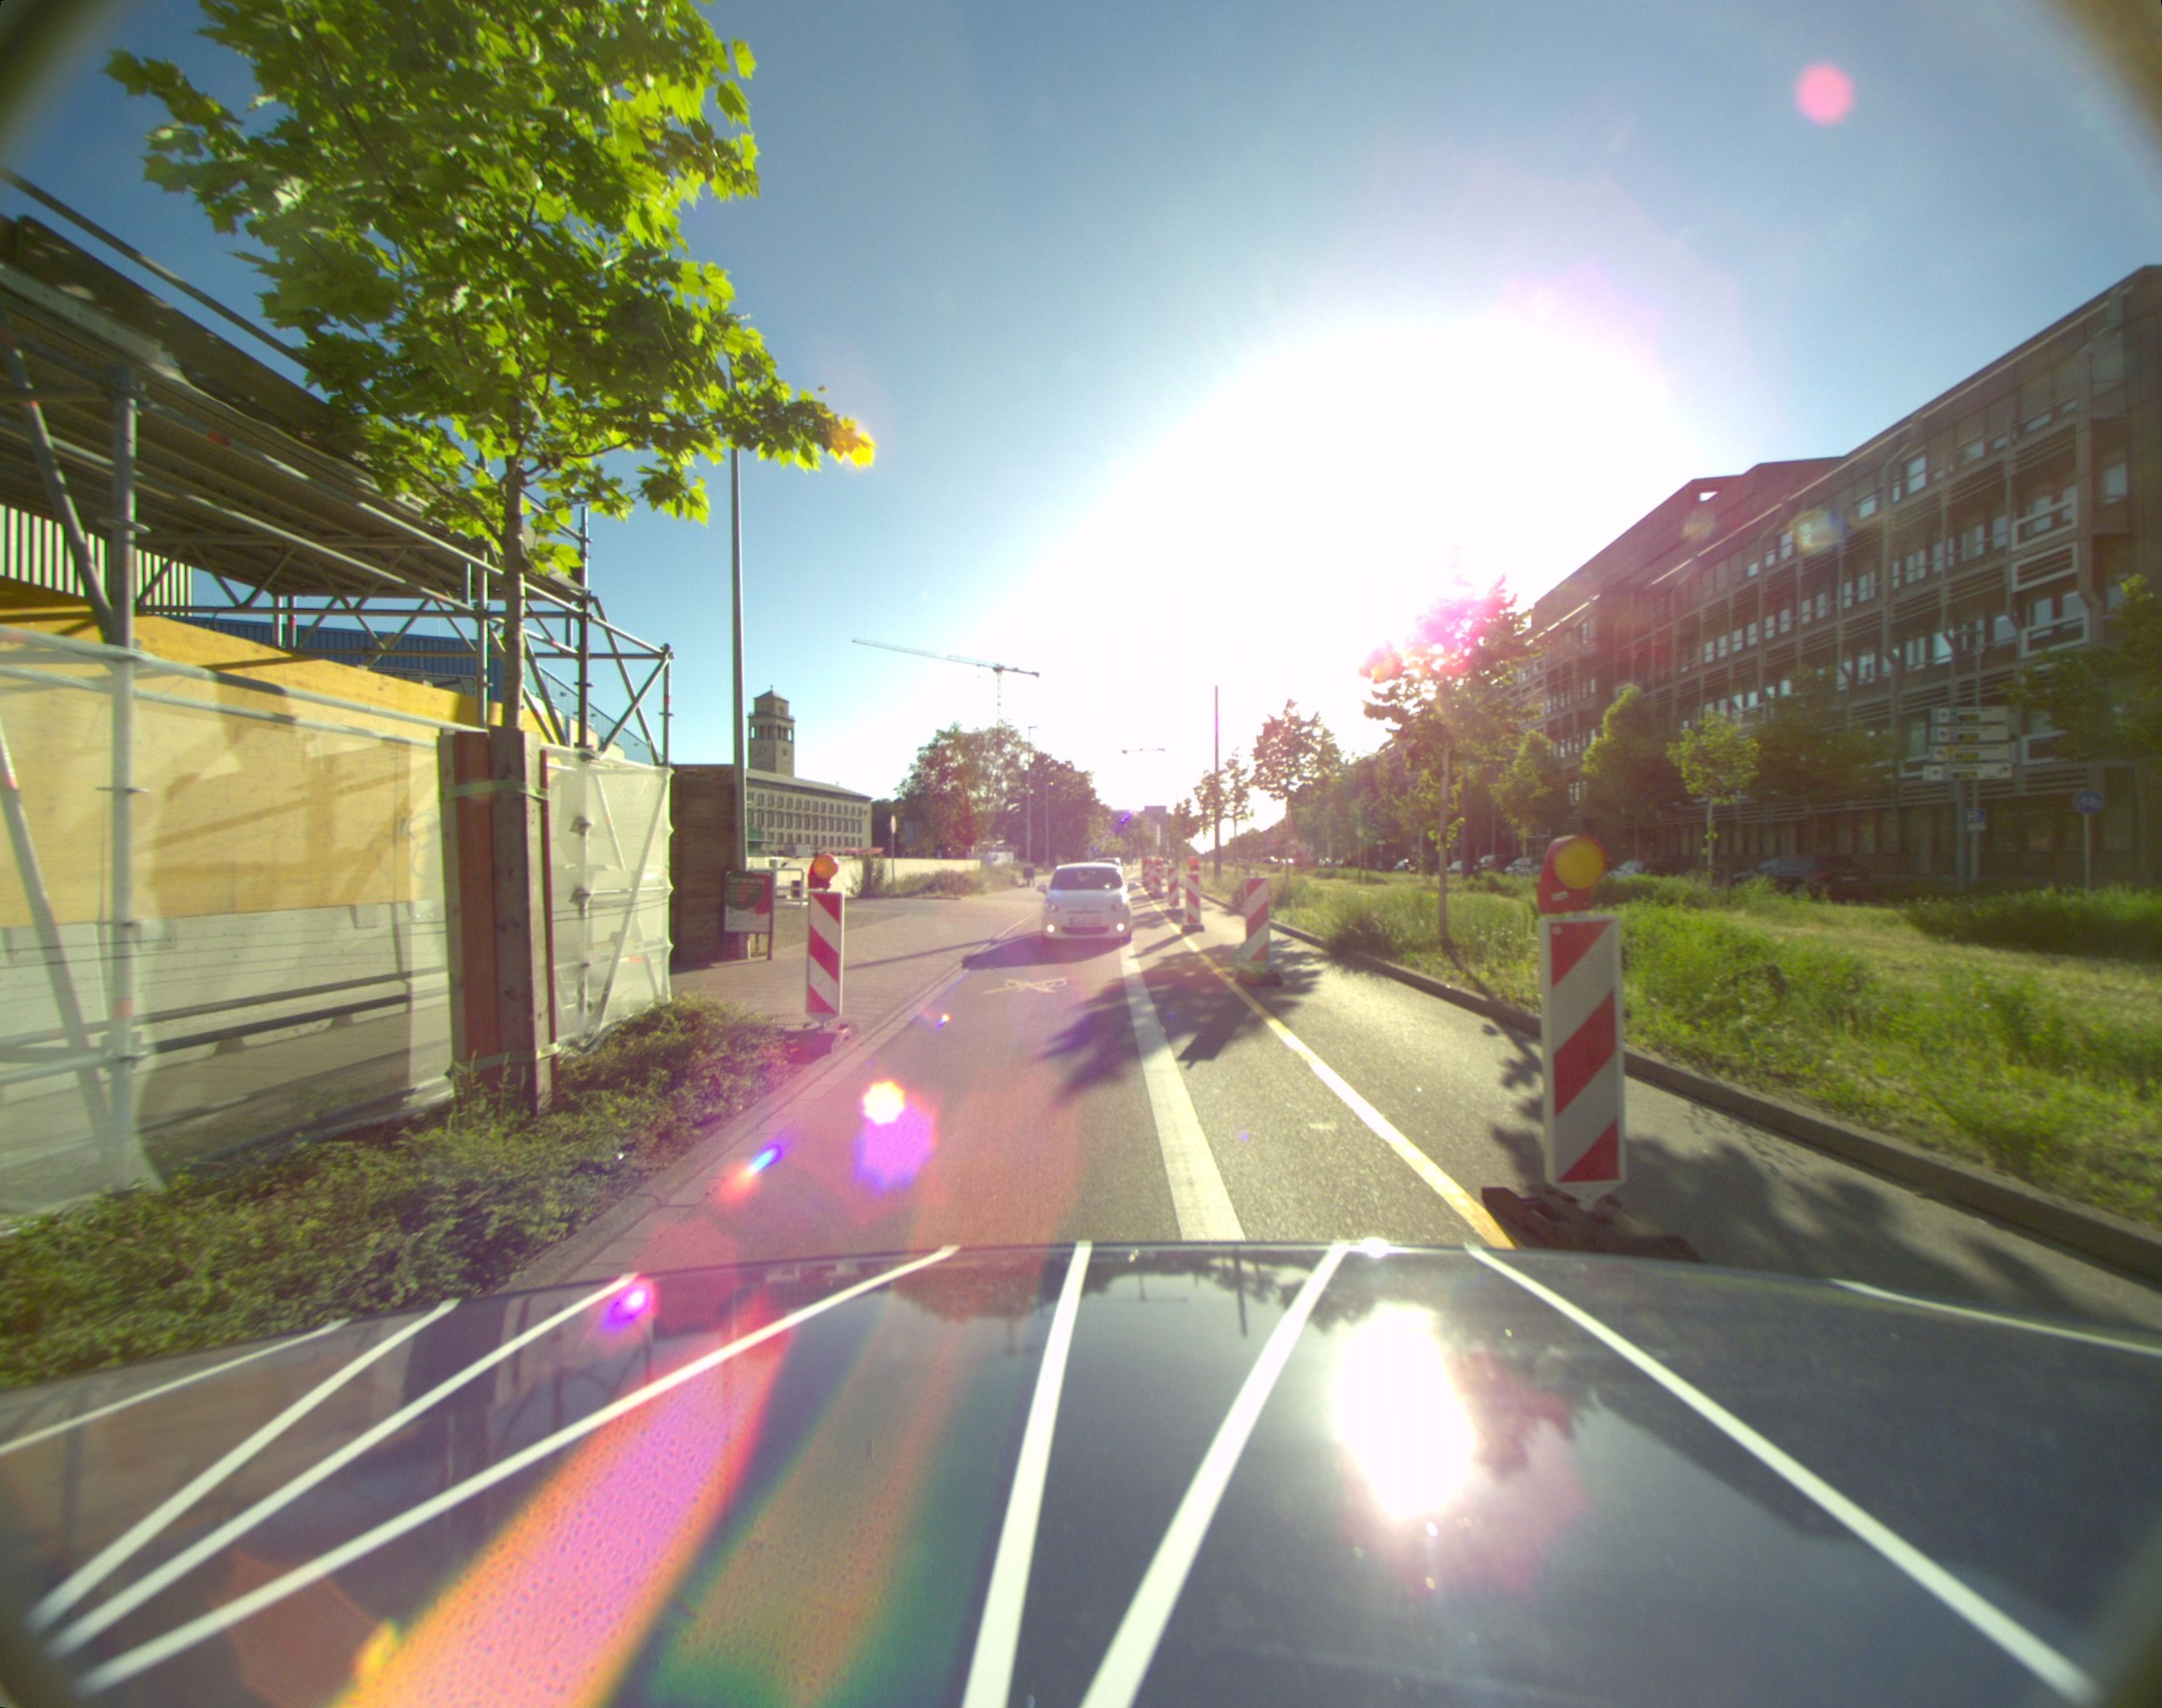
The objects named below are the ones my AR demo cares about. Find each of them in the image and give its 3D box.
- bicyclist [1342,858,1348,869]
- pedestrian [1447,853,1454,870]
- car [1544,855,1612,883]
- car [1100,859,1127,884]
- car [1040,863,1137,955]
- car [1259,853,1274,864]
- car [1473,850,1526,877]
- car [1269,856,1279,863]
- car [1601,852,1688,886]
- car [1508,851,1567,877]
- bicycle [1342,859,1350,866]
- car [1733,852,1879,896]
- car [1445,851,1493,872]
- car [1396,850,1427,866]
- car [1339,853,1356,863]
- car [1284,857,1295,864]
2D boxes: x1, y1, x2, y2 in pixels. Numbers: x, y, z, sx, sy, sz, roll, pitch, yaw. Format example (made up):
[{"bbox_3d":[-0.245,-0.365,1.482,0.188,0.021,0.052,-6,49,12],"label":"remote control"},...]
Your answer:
[{"bbox_3d":[33.080,1.186,95.078,0.566,1.449,0.706,0,0,6],"label":"bicyclist"},{"bbox_3d":[34.937,0.730,71.844,0.521,1.569,0.537,0,0,11],"label":"pedestrian"},{"bbox_3d":[27.447,0.794,42.083,1.628,1.433,3.821,-2,0,7],"label":"car"},{"bbox_3d":[1.900,1.015,45.394,1.459,1.472,3.527,0,0,0],"label":"car"},{"bbox_3d":[0.228,0.975,14.882,1.614,1.488,3.395,-3,0,3],"label":"car"},{"bbox_3d":[30.749,0.712,125.982,1.731,1.736,4.123,-1,0,5],"label":"car"},{"bbox_3d":[28.726,0.642,52.294,1.754,1.760,4.334,-2,-1,7],"label":"car"},{"bbox_3d":[39.796,1.177,156.732,1.631,1.487,3.782,0,0,8],"label":"car"},{"bbox_3d":[27.165,0.695,36.777,1.652,1.545,3.969,-1,0,8],"label":"car"},{"bbox_3d":[28.344,0.612,47.303,1.741,1.527,3.887,-1,-1,7],"label":"car"},{"bbox_3d":[33.030,1.050,94.564,0.566,0.872,1.772,0,0,6],"label":"bicycle"},{"bbox_3d":[26.347,0.691,27.819,1.734,1.453,3.901,-2,0,3],"label":"car"},{"bbox_3d":[29.369,0.576,57.693,1.733,1.460,4.507,-2,-1,6],"label":"car"},{"bbox_3d":[31.564,0.371,72.727,1.719,1.379,4.042,-2,0,9],"label":"car"},{"bbox_3d":[42.090,0.612,119.887,1.725,1.535,3.633,-2,0,7],"label":"car"},{"bbox_3d":[42.393,1.271,154.300,1.630,1.487,4.420,0,0,9],"label":"car"}]
